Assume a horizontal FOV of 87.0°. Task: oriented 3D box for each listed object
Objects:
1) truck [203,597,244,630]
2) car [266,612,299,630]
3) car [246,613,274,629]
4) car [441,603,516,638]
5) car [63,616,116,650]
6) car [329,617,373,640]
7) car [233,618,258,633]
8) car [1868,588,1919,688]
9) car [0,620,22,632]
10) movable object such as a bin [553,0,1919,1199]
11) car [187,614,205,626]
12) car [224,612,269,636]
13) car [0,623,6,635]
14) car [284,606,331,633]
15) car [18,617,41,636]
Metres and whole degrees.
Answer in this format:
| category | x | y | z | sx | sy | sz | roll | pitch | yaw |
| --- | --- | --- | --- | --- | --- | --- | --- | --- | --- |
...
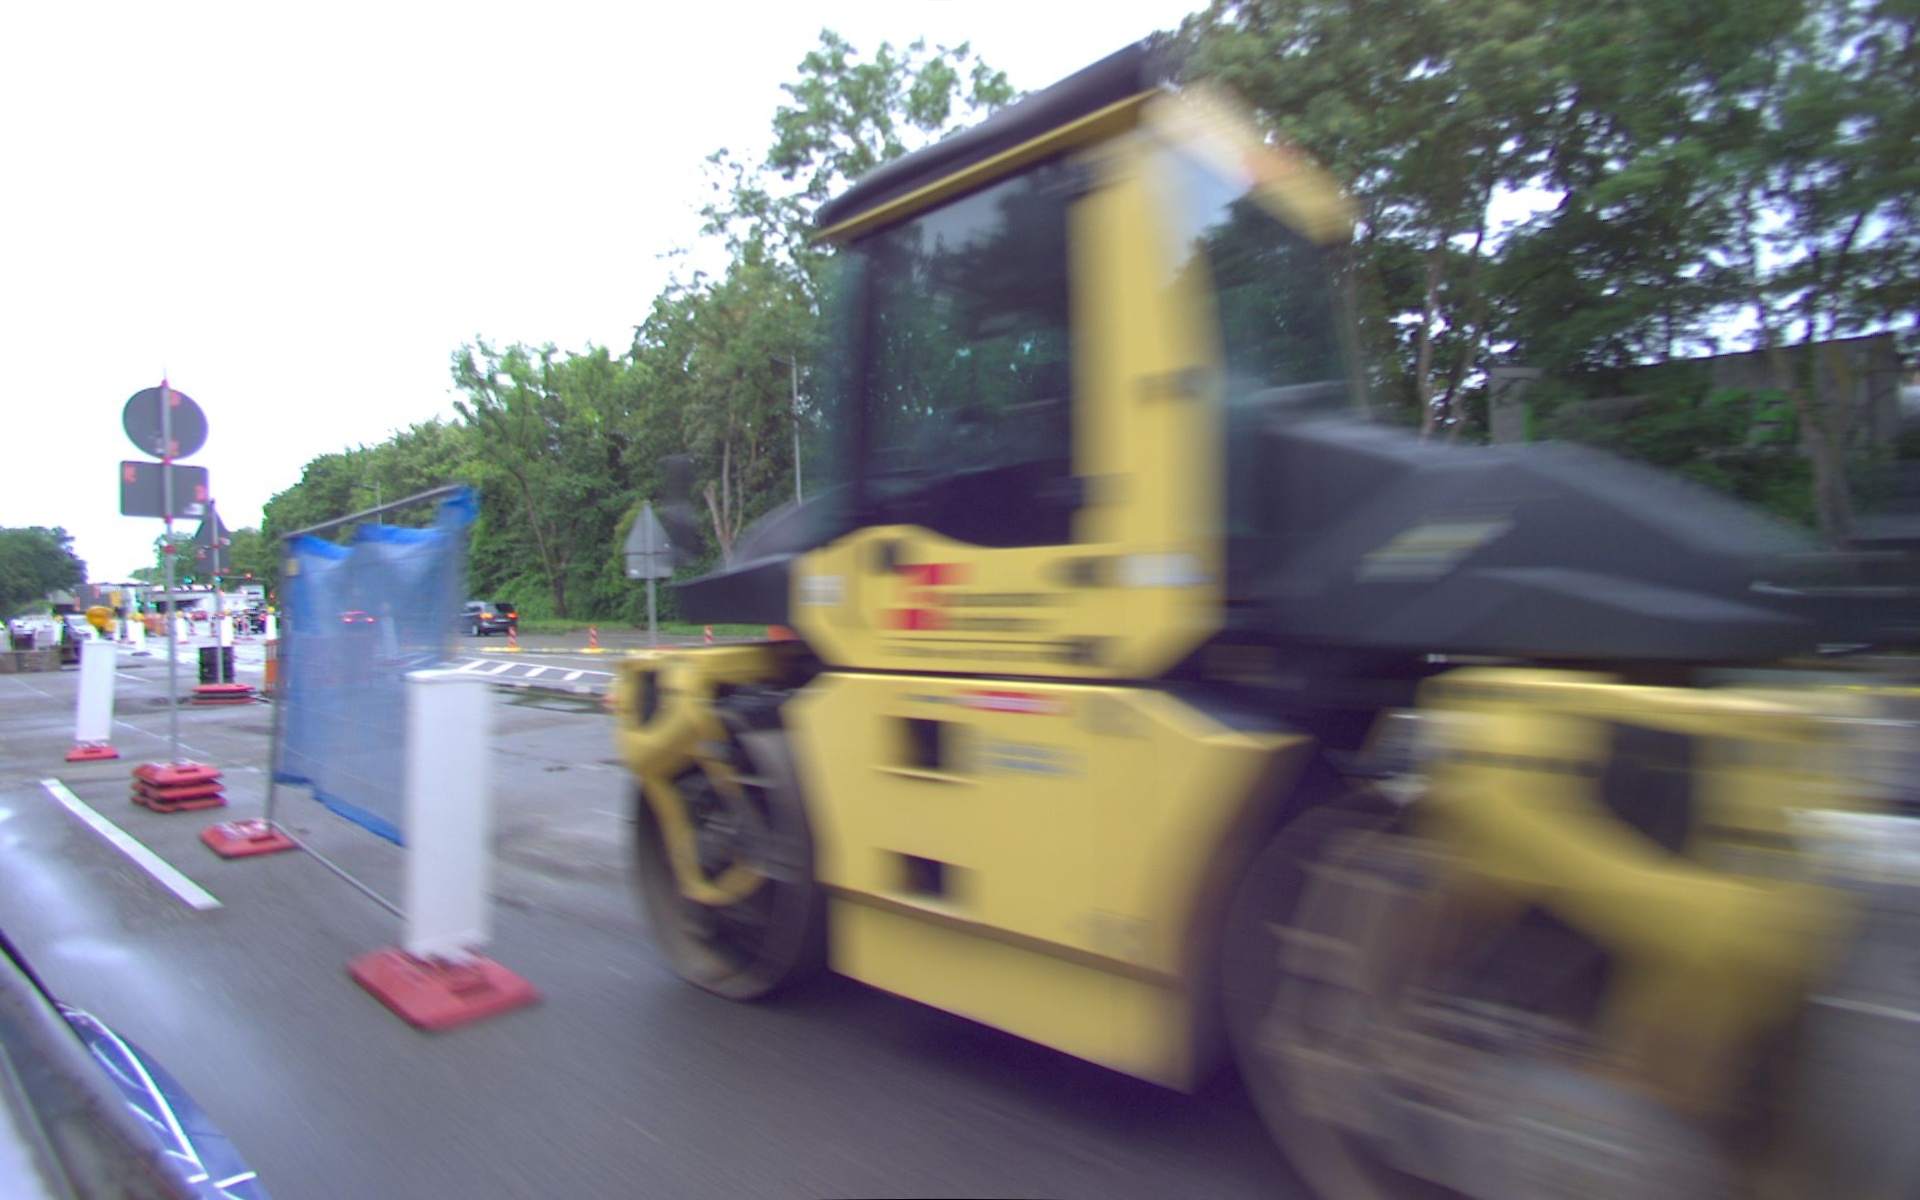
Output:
| category | x | y | z | sx | sy | sz | roll | pitch | yaw |
| --- | --- | --- | --- | --- | --- | --- | --- | --- | --- |
| truck | -89.797 | 1.657 | 123.283 | 3.105 | 3.860 | 9.659 | -1 | 0 | -41 |
| car | -58.876 | 1.790 | 87.921 | 1.655 | 1.507 | 3.772 | 0 | -1 | -45 |
| car | -65.773 | 1.987 | 95.068 | 1.655 | 1.507 | 3.773 | 0 | -1 | -44 |
| car | -23.708 | 1.029 | 49.720 | 4.766 | 1.626 | 1.657 | -2 | -1 | 42 |
| car | -44.562 | 1.655 | 51.761 | 1.769 | 1.596 | 3.863 | -3 | 1 | -44 |
| car | -40.336 | 1.872 | 66.998 | 3.608 | 1.495 | 1.603 | -2 | -1 | 44 |
| car | -77.946 | 2.767 | 110.424 | 1.880 | 1.507 | 3.775 | 0 | -1 | -41 |
| car | 15.871 | 0.519 | 14.273 | 4.466 | 1.437 | 1.766 | -1 | 0 | 41 |
| car | -119.146 | 3.290 | 127.094 | 1.685 | 1.453 | 4.238 | -1 | 0 | -40 |
| movable object such as a bin | 0.884 | -0.103 | 3.131 | 5.243 | 3.008 | 1.785 | -1 | 0 | 42 |
| car | -102.846 | 2.708 | 136.166 | 1.837 | 1.507 | 4.185 | 0 | -1 | -38 |
| car | -47.694 | 1.590 | 67.613 | 3.769 | 1.507 | 1.720 | -2 | -1 | 43 |
| car | -127.097 | 3.865 | 133.541 | 1.686 | 1.453 | 4.236 | -1 | 0 | -42 |
| car | -41.163 | 1.226 | 63.798 | 3.770 | 1.626 | 1.656 | -2 | -1 | 44 |
| car | -97.006 | 2.770 | 105.527 | 1.669 | 1.858 | 4.587 | -1 | 0 | -43 |
